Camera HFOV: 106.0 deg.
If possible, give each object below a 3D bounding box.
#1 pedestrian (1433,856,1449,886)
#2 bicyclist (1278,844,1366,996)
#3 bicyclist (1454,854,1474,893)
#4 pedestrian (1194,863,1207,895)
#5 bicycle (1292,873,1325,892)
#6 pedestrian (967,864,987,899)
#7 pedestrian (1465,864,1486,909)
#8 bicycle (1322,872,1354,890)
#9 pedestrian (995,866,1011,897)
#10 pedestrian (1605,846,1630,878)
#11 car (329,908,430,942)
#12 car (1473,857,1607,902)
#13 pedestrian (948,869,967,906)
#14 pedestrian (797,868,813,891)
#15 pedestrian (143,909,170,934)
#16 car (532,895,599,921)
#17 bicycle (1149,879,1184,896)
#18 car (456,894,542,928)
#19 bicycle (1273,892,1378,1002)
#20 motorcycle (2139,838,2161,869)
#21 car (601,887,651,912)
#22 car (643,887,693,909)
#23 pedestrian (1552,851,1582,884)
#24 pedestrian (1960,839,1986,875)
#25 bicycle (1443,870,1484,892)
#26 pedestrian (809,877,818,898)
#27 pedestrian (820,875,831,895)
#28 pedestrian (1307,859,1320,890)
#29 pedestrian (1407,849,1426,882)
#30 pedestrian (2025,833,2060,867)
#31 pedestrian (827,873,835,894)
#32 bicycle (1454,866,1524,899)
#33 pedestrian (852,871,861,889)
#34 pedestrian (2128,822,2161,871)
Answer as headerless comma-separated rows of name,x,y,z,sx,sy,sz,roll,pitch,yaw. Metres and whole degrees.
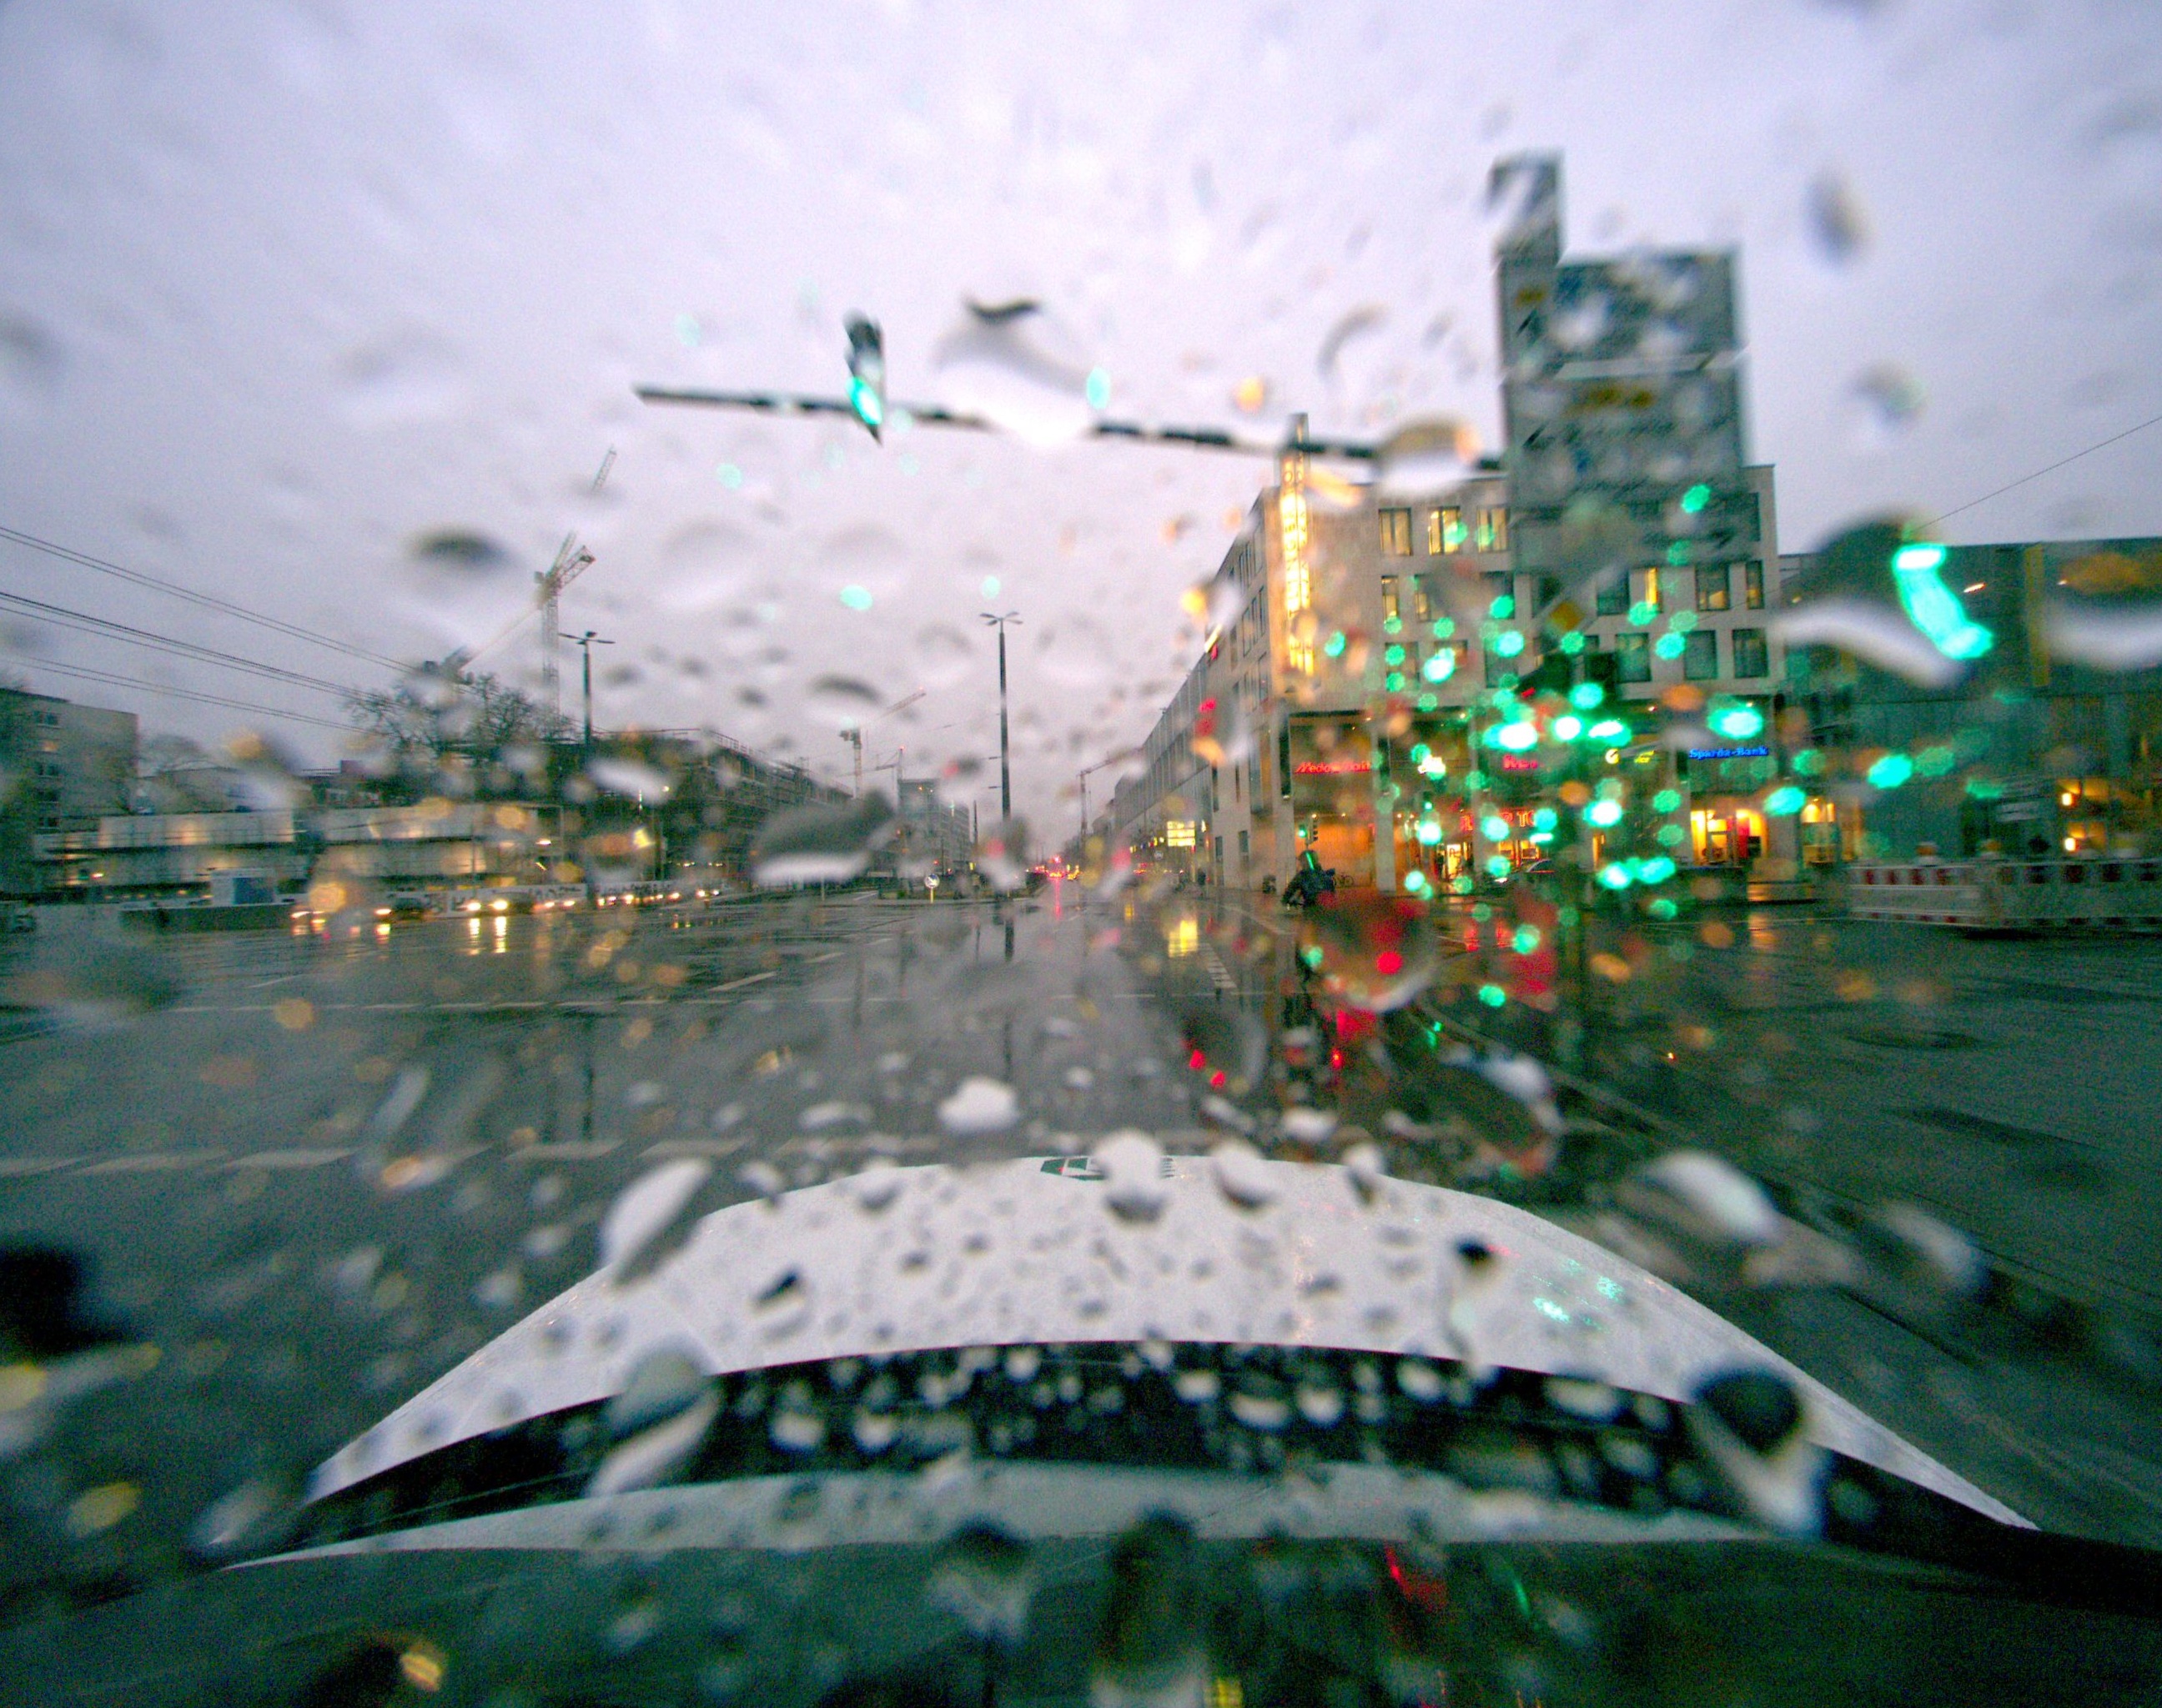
pedestrian,21.075,0.994,47.643,0.728,1.718,0.743,-3,-2,29
bicyclist,2.781,0.736,9.500,0.700,1.660,0.964,-2,-1,1
bicyclist,20.595,1.047,43.808,0.913,2.014,0.912,-2,-1,24
pedestrian,6.681,1.394,45.539,0.634,1.709,0.573,-2,-2,0
bicycle,13.172,1.635,47.090,1.765,1.070,0.523,0,-2,-7
pedestrian,-5.515,1.446,43.258,0.826,1.832,0.778,1,-2,-29
pedestrian,21.944,1.795,45.308,0.712,2.441,0.758,0,-2,1
bicycle,14.877,1.558,47.171,1.642,1.070,0.524,0,-2,-3
pedestrian,-4.249,1.504,44.261,0.605,1.686,0.581,-2,-2,43
pedestrian,28.875,0.420,43.841,0.890,1.684,0.528,-2,-2,1
car,-38.427,3.858,44.743,1.986,1.530,4.000,-2,-2,1
car,17.445,0.977,31.103,3.971,1.618,2.001,0,-2,2
pedestrian,-6.671,1.796,43.987,0.776,2.014,0.732,-2,-2,43
pedestrian,-24.697,2.258,72.900,0.938,2.014,1.095,0,-2,3
pedestrian,-52.428,3.819,46.177,0.725,1.389,0.725,-2,-2,3
car,-34.843,3.611,55.241,2.074,1.530,4.602,-2,-2,-8
bicycle,6.108,2.401,58.112,2.435,1.154,0.674,-2,-2,0
car,-33.224,3.230,46.636,1.986,1.657,4.000,-2,-2,1
bicycle,2.799,1.025,9.511,0.705,1.094,1.784,-1,-1,1
motorcycle,47.812,-0.024,35.865,1.482,1.353,0.595,0,-1,5
car,-35.335,3.522,63.347,1.863,1.828,3.992,0,-2,-6
car,-35.662,3.765,70.447,1.983,1.791,4.006,-1,-2,6
pedestrian,25.167,0.693,42.161,1.026,1.684,0.824,0,-2,1
pedestrian,41.852,0.149,38.211,0.539,1.684,0.582,-1,-2,7
bicycle,20.559,1.447,43.812,1.943,1.086,0.932,-2,-1,23
pedestrian,-24.376,3.016,74.204,0.696,1.881,0.553,0,-2,0
pedestrian,-23.952,2.917,76.335,0.762,1.898,0.762,0,-3,1
pedestrian,13.161,1.178,46.117,0.596,1.745,0.526,-1,-2,9
pedestrian,20.807,0.687,50.506,0.841,2.014,0.700,-2,-1,10
pedestrian,47.477,-0.184,40.217,0.737,1.684,0.783,-1,-2,7
pedestrian,-23.883,2.784,77.718,0.569,1.968,0.664,1,-2,-5
bicycle,18.741,1.306,37.415,2.706,1.359,0.956,-2,-2,-3
pedestrian,-24.951,2.858,90.531,0.942,2.014,1.090,0,-2,-9
pedestrian,36.943,-0.252,28.037,0.737,1.684,0.783,-1,-2,7
